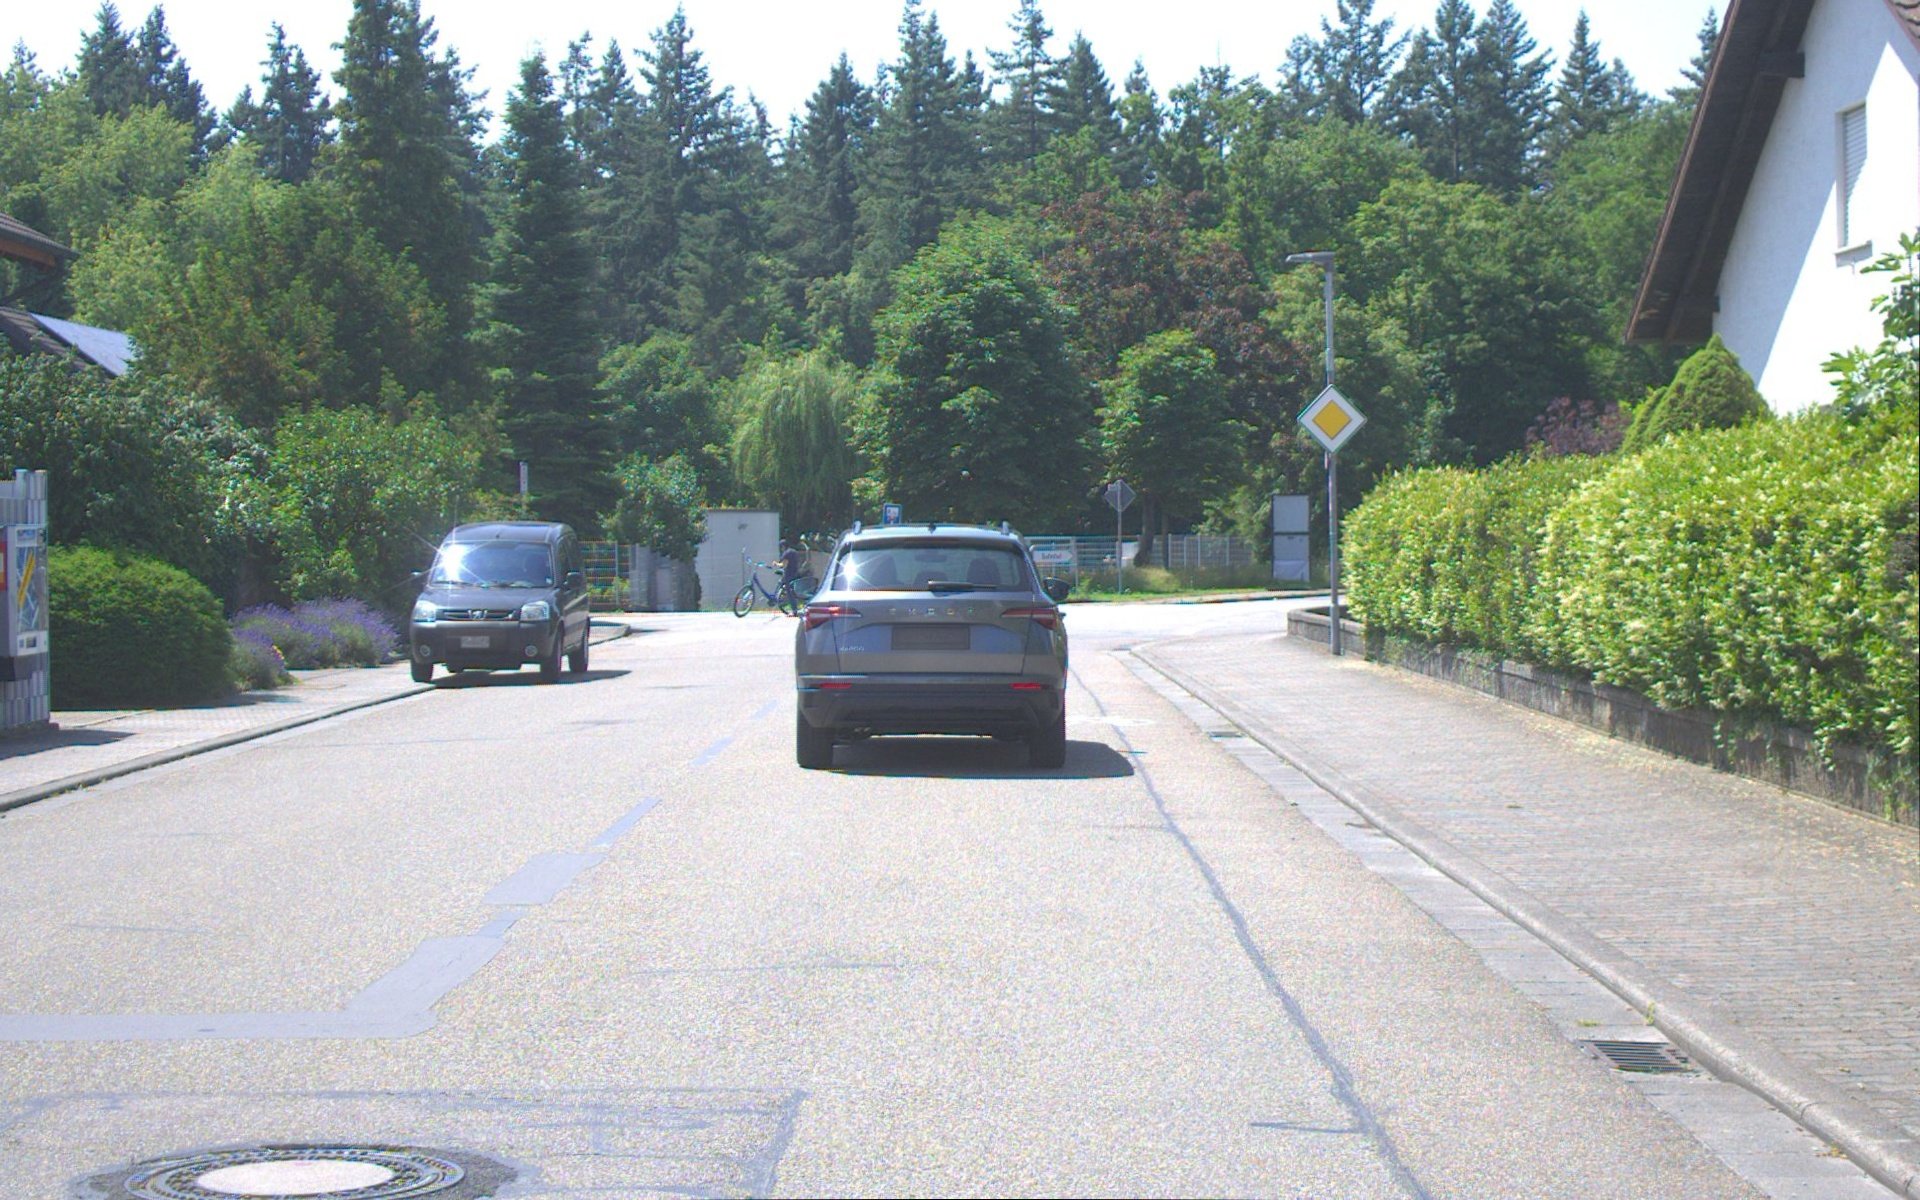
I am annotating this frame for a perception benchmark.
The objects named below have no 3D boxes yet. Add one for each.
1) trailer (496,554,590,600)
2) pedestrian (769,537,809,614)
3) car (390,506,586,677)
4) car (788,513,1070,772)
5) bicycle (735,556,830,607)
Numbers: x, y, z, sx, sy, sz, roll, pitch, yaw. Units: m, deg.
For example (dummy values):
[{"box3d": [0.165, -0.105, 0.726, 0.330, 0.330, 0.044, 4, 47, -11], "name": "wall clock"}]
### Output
[{"box3d": [-9.972, -0.559, 82.199, 2.214, 1.080, 1.106, -1, 1, -7], "name": "trailer"}, {"box3d": [-3.329, -0.480, 66.993, 0.610, 1.495, 0.504, -1, 1, -27], "name": "pedestrian"}, {"box3d": [-5.351, -0.125, 39.381, 1.718, 1.839, 4.055, 0, 1, -1], "name": "car"}, {"box3d": [-0.219, 0.237, 23.791, 1.762, 1.612, 4.000, 1, 1, -1], "name": "car"}, {"box3d": [-3.481, -0.371, 67.425, 1.842, 0.960, 0.443, -1, 1, -30], "name": "bicycle"}]
